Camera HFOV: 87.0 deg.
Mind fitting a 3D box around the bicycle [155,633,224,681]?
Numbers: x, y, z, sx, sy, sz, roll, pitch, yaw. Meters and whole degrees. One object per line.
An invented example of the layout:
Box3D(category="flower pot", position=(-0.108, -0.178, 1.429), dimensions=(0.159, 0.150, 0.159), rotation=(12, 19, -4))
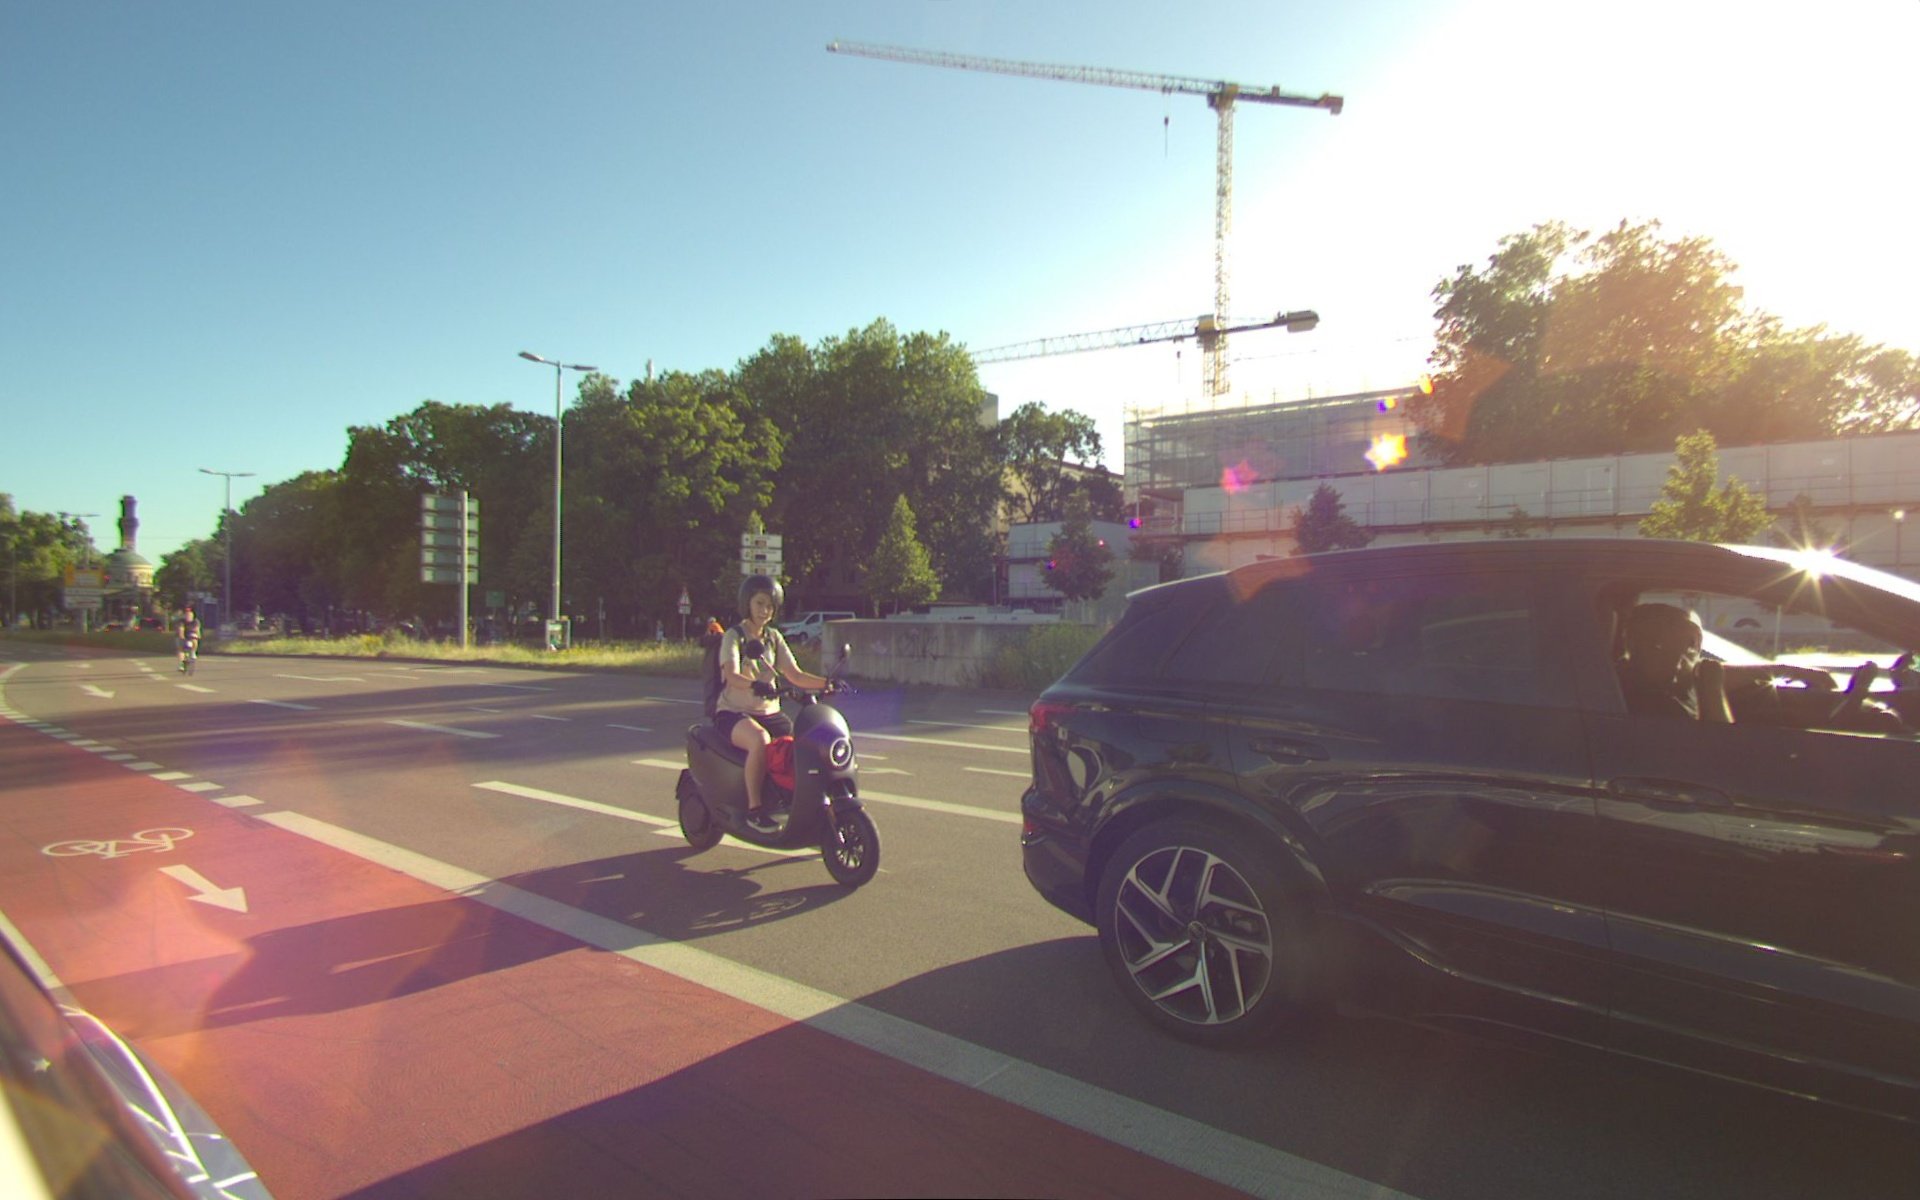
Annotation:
Box3D(category="bicycle", position=(-19.503, 1.409, 25.599), dimensions=(2.806, 1.124, 0.843), rotation=(-2, -1, 41))

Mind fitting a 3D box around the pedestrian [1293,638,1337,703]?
Box3D(category="pedestrian", position=(11.613, 2.290, 33.060), dimensions=(1.135, 2.029, 0.930), rotation=(-1, 0, 35))

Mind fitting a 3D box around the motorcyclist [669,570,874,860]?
Box3D(category="motorcyclist", position=(-1.077, 0.596, 5.774), dimensions=(0.917, 1.485, 0.717), rotation=(-2, -1, 41))

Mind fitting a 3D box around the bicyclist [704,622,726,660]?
Box3D(category="bicyclist", position=(-9.415, 1.562, 38.943), dimensions=(0.713, 1.448, 0.490), rotation=(-1, 0, 39))

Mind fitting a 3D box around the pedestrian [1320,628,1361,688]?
Box3D(category="pedestrian", position=(13.336, 2.020, 35.504), dimensions=(1.135, 2.029, 0.930), rotation=(-1, 0, 35))

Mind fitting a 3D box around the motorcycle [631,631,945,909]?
Box3D(category="motorcycle", position=(-1.031, 0.842, 5.734), dimensions=(1.883, 1.303, 0.715), rotation=(-2, -1, 41))

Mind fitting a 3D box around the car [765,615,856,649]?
Box3D(category="car", position=(-9.057, 1.920, 61.849), dimensions=(2.065, 1.950, 5.443), rotation=(-1, -2, 42))

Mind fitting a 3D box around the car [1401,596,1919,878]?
Box3D(category="car", position=(4.976, 0.755, 6.549), dimensions=(3.603, 1.497, 1.477), rotation=(-2, -1, 41))

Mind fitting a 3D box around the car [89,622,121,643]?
Box3D(category="car", position=(-79.864, 3.021, 94.540), dimensions=(3.945, 1.802, 1.725), rotation=(-1, 0, 41))

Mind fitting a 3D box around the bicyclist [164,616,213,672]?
Box3D(category="bicyclist", position=(-19.584, 1.098, 25.684), dimensions=(0.829, 1.358, 0.843), rotation=(-2, -1, 41))

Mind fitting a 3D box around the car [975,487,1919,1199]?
Box3D(category="car", position=(2.418, 0.577, 3.030), dimensions=(4.677, 1.647, 1.753), rotation=(-1, 0, 40))

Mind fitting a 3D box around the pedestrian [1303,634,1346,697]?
Box3D(category="pedestrian", position=(12.190, 2.182, 33.878), dimensions=(1.135, 2.029, 0.930), rotation=(-1, 0, 35))

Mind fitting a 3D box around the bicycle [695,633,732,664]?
Box3D(category="bicycle", position=(-9.528, 1.860, 39.040), dimensions=(1.649, 1.163, 0.490), rotation=(-1, 0, 40))

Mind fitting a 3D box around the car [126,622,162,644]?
Box3D(category="car", position=(-71.467, 2.839, 88.649), dimensions=(3.998, 1.841, 1.796), rotation=(-1, 0, 41))

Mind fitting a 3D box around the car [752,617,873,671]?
Box3D(category="car", position=(-4.729, 1.360, 32.169), dimensions=(3.894, 1.597, 1.637), rotation=(-1, -2, 39))

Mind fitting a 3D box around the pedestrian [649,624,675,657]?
Box3D(category="pedestrian", position=(-16.922, 2.297, 57.509), dimensions=(1.018, 1.845, 0.977), rotation=(-1, 0, 39))

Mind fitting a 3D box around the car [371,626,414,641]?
Box3D(category="car", position=(-74.029, 4.348, 132.074), dimensions=(1.872, 1.851, 4.535), rotation=(-1, 0, 32))
